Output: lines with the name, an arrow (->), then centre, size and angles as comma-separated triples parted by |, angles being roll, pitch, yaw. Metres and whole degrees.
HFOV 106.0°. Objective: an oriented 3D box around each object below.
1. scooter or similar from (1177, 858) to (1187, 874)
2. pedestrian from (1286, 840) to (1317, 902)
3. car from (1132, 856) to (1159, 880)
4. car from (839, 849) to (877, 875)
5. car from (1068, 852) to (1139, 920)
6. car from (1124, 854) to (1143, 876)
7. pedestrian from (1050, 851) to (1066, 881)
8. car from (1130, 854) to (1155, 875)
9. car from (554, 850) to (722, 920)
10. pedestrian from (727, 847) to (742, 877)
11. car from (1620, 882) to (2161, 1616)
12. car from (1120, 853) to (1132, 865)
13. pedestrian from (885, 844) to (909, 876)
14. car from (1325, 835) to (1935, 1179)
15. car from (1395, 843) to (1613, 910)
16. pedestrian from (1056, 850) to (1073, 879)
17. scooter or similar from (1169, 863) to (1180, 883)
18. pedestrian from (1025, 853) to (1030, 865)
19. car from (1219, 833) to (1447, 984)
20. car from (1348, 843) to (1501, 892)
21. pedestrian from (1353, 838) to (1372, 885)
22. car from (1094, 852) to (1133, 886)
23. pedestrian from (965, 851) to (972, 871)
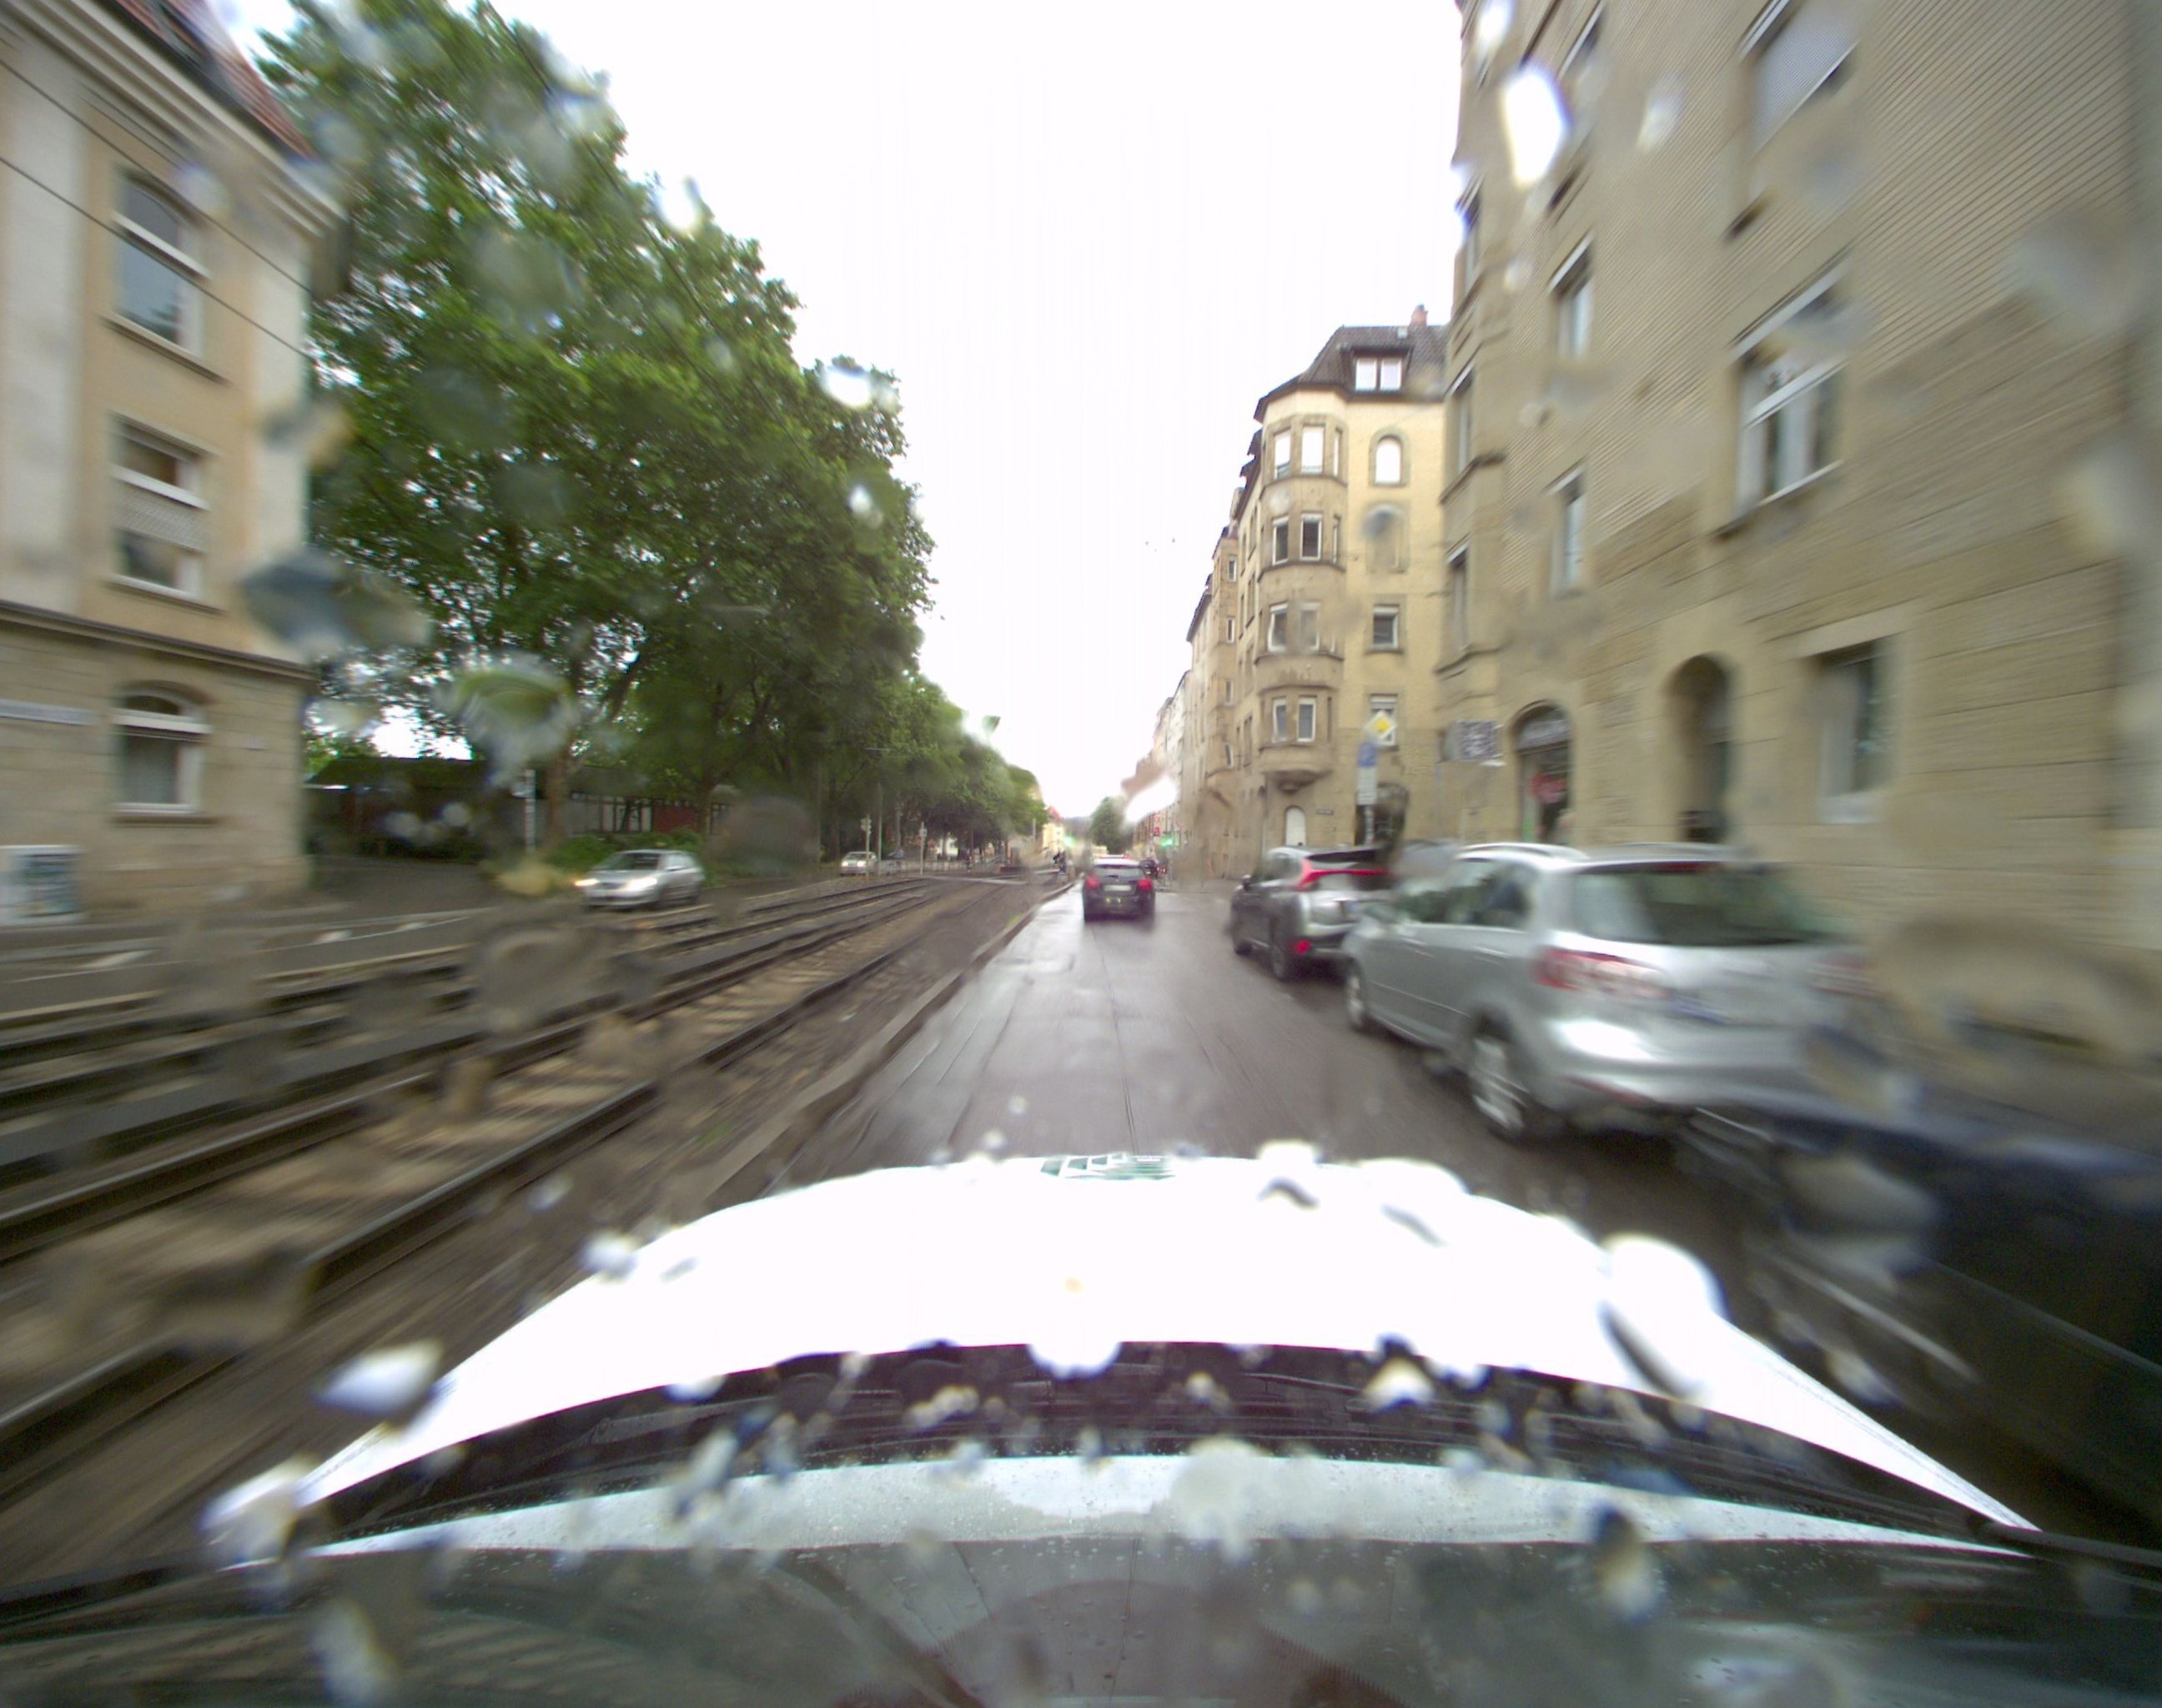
scooter or similar -> 8.768, 1.021, 70.616 | 0.448, 1.321, 1.774 | -1, 0, -5
pedestrian -> 6.524, 0.484, 24.117 | 0.692, 1.787, 0.758 | -2, 0, 0
car -> 4.713, 1.013, 59.837 | 1.820, 1.618, 3.866 | -1, 0, 2
car -> -13.451, 0.434, 49.207 | 1.657, 1.497, 3.777 | 0, 0, -7
car -> 0.542, 0.717, 19.823 | 1.574, 1.505, 3.575 | 0, 0, 1
car -> 5.131, 1.049, 79.822 | 1.753, 2.013, 4.002 | -1, 0, 2
pedestrian -> -1.273, 0.646, 44.993 | 0.803, 1.633, 0.892 | -1, 0, 2
car -> 4.823, 0.779, 64.407 | 1.753, 1.579, 4.002 | -1, 0, 2
car -> -10.596, 0.674, 19.947 | 1.814, 1.505, 4.627 | 1, 0, -4
pedestrian -> -19.166, 0.428, 45.013 | 0.694, 1.662, 0.638 | 0, -1, -18
car -> 2.915, 0.794, 0.939 | 1.711, 1.347, 4.462 | 1, 0, 1
car -> 7.494, 0.787, 137.021 | 1.985, 2.013, 4.003 | -1, 0, 3
pedestrian -> -10.146, 0.332, 44.889 | 1.050, 1.718, 0.905 | 1, 0, 3
car -> 3.081, 0.691, 5.685 | 1.687, 1.529, 4.002 | 1, 0, 2
car -> 10.359, 0.530, 20.217 | 4.430, 1.484, 1.866 | -1, 0, 4
pedestrian -> -1.195, 0.729, 57.228 | 1.135, 1.998, 1.171 | -1, 0, -2
scooter or similar -> 6.406, 1.301, 55.797 | 0.447, 1.321, 1.777 | -1, 0, -1
pedestrian -> -7.741, 0.682, 118.245 | 0.516, 1.717, 0.551 | 2, 0, 2
car -> 3.192, 0.614, 11.277 | 1.760, 1.668, 4.331 | 1, 0, -1
car -> 11.353, 0.437, 27.143 | 4.318, 1.531, 1.893 | -1, 0, 3
pedestrian -> 10.270, 0.285, 29.728 | 0.545, 1.688, 0.627 | 0, 0, 6
car -> 1.581, 0.702, 39.684 | 1.778, 1.581, 4.002 | 0, 0, 2
pedestrian -> -10.190, 0.638, 73.833 | 0.532, 1.754, 0.607 | 2, 0, 2
